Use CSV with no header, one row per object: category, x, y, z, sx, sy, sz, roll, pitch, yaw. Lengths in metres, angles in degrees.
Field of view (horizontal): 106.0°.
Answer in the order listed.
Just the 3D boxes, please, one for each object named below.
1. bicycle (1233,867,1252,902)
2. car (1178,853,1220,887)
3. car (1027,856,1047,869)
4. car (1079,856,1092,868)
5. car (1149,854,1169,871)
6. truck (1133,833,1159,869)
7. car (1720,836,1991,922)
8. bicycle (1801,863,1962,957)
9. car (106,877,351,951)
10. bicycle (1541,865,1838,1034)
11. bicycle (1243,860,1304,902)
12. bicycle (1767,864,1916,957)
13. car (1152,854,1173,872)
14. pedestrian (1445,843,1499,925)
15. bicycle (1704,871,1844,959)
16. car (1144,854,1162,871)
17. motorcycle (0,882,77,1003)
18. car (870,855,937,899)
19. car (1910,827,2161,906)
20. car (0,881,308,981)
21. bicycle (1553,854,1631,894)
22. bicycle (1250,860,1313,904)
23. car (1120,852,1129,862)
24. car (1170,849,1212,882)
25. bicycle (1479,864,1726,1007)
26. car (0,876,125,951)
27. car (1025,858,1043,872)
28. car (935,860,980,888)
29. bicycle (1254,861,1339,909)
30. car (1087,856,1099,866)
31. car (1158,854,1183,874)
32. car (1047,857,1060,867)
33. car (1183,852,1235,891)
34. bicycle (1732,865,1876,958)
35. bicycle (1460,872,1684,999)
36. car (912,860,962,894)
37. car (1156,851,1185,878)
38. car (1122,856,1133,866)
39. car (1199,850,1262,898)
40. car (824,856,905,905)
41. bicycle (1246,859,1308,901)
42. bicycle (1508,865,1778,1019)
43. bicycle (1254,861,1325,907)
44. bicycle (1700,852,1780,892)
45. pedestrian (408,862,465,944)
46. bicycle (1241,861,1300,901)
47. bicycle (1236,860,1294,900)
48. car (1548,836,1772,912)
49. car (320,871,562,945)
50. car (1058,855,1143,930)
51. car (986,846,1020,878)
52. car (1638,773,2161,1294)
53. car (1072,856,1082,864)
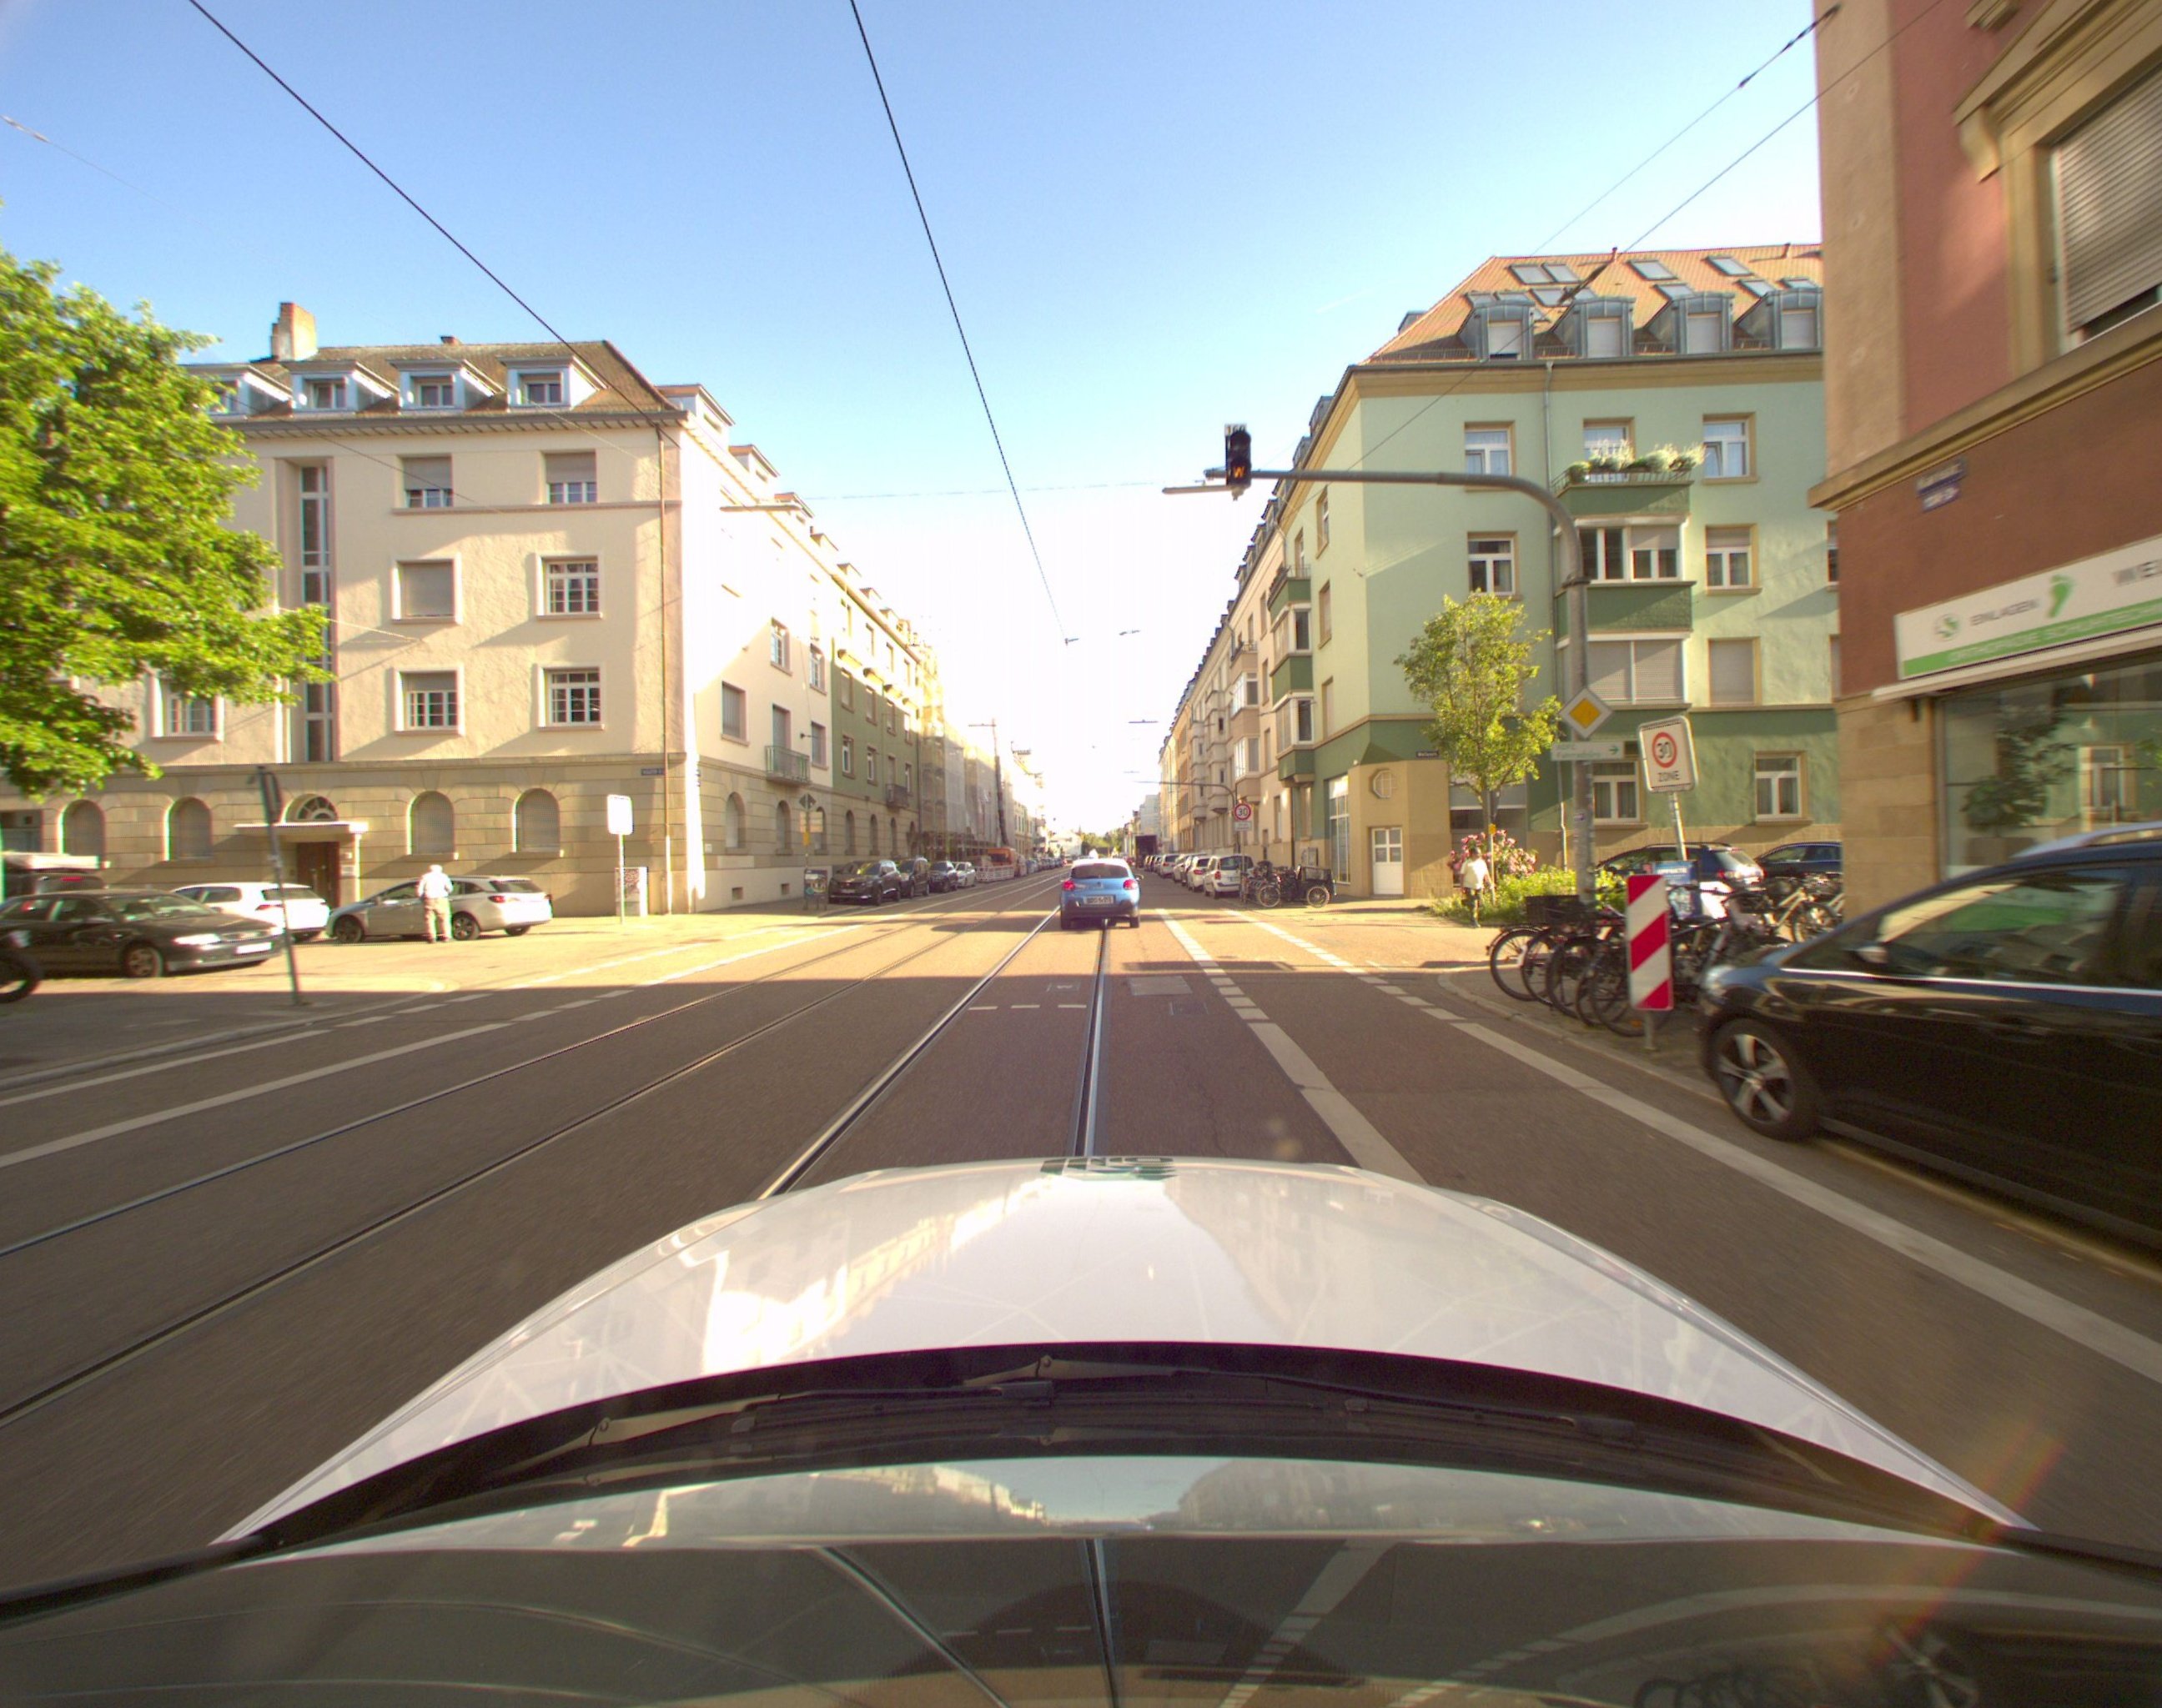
bicycle,5.070,0.935,25.580,0.351,1.044,1.730,-2,0,4
car,5.958,0.778,41.521,1.648,1.566,4.341,-2,0,2
car,-5.701,1.079,106.471,2.136,1.621,4.002,-2,0,2
car,0.708,1.200,121.969,1.818,1.632,4.493,-2,0,2
car,7.601,0.820,79.639,1.657,1.647,4.224,-2,0,2
truck,8.037,-0.342,101.375,2.841,4.083,11.280,-2,0,3
car,16.872,0.494,18.013,1.761,1.640,3.975,-2,0,-18
bicycle,10.949,0.726,11.227,0.541,1.154,1.729,-2,0,2
car,-19.997,1.379,19.226,3.782,1.464,1.842,-2,1,1
bicycle,4.914,0.756,6.646,1.951,1.227,0.527,-3,0,2
bicycle,6.080,0.852,25.752,1.716,1.154,0.469,-5,0,2
bicycle,10.417,0.727,11.242,0.466,1.154,1.729,-2,0,2
car,7.426,0.828,74.795,1.657,1.519,4.224,-2,0,2
pedestrian,7.975,0.608,16.638,0.730,1.633,0.699,1,-2,-15
bicycle,9.413,0.790,11.153,0.466,1.049,1.729,-2,0,2
car,7.535,0.884,85.666,1.657,1.633,3.873,-2,0,2
motorcycle,-13.520,1.077,9.579,0.938,1.418,2.038,-2,0,32
car,-7.855,0.964,36.419,1.776,1.816,4.532,0,0,3
car,22.640,0.250,18.905,1.841,1.640,4.427,-2,0,-16
car,-15.777,1.250,13.617,3.972,1.394,1.748,-2,1,1
bicycle,14.333,0.561,22.859,1.889,1.063,0.455,-1,0,-1
bicycle,6.021,0.839,24.525,1.716,1.154,0.469,-5,0,2
car,10.371,0.708,193.823,2.211,2.284,4.086,-2,0,2
car,6.317,0.654,47.233,1.650,1.752,4.599,-2,0,-2
bicycle,4.934,0.762,7.780,1.951,1.227,0.527,-3,0,2
car,-25.634,1.409,19.194,3.972,1.581,1.860,-2,1,1
car,-5.697,1.316,98.483,1.707,1.594,4.269,-2,0,2
car,-7.258,1.141,48.200,1.710,1.502,4.392,0,0,4
bicycle,5.950,0.845,22.592,2.078,1.154,0.849,-4,0,2
car,2.034,1.171,139.706,1.894,1.632,4.269,-2,0,2
car,7.114,0.759,65.134,1.715,1.487,4.224,-2,0,2
car,-4.417,1.278,132.305,1.819,1.632,3.907,-2,0,2
car,5.614,0.718,36.165,1.776,1.576,4.329,-2,0,2
bicycle,9.922,0.744,11.260,0.466,1.154,1.729,-2,0,2
bicycle,4.995,0.819,8.358,1.916,1.161,0.527,-3,0,2
car,-7.388,1.125,42.185,1.777,1.627,4.609,0,0,0
car,6.495,0.719,59.340,1.723,1.827,4.689,-2,0,2
car,7.639,1.182,134.714,1.758,1.487,4.034,-2,0,2
car,5.521,0.694,30.517,1.776,1.632,4.002,-2,0,2
car,-8.095,0.947,30.926,1.777,1.690,4.667,0,0,0
bicycle,6.022,0.799,25.073,1.716,1.154,0.469,-5,0,2
bicycle,4.930,0.758,7.218,1.951,1.227,0.527,-3,0,2
bicycle,5.956,0.848,23.288,1.835,1.154,0.469,-5,0,2
bicycle,18.508,0.493,22.888,1.889,1.063,0.455,-1,0,-1
pedestrian,-14.047,1.047,17.756,0.604,1.712,0.732,-2,0,2
bicycle,6.137,0.872,26.372,1.716,1.154,0.469,-5,0,2
bicycle,6.096,0.853,27.000,1.716,1.154,0.469,-5,0,2
car,13.579,0.431,19.380,1.644,1.579,4.043,-1,0,-25
car,-14.853,1.223,19.077,4.202,1.464,1.783,-2,1,1
car,0.481,0.783,18.600,1.728,1.507,3.995,0,0,2
car,-6.252,0.616,65.920,2.137,2.475,4.980,-2,0,0
car,4.439,0.538,2.986,1.746,1.735,4.509,-5,0,3
car,-0.908,1.416,188.446,1.894,1.632,4.269,-2,0,2
